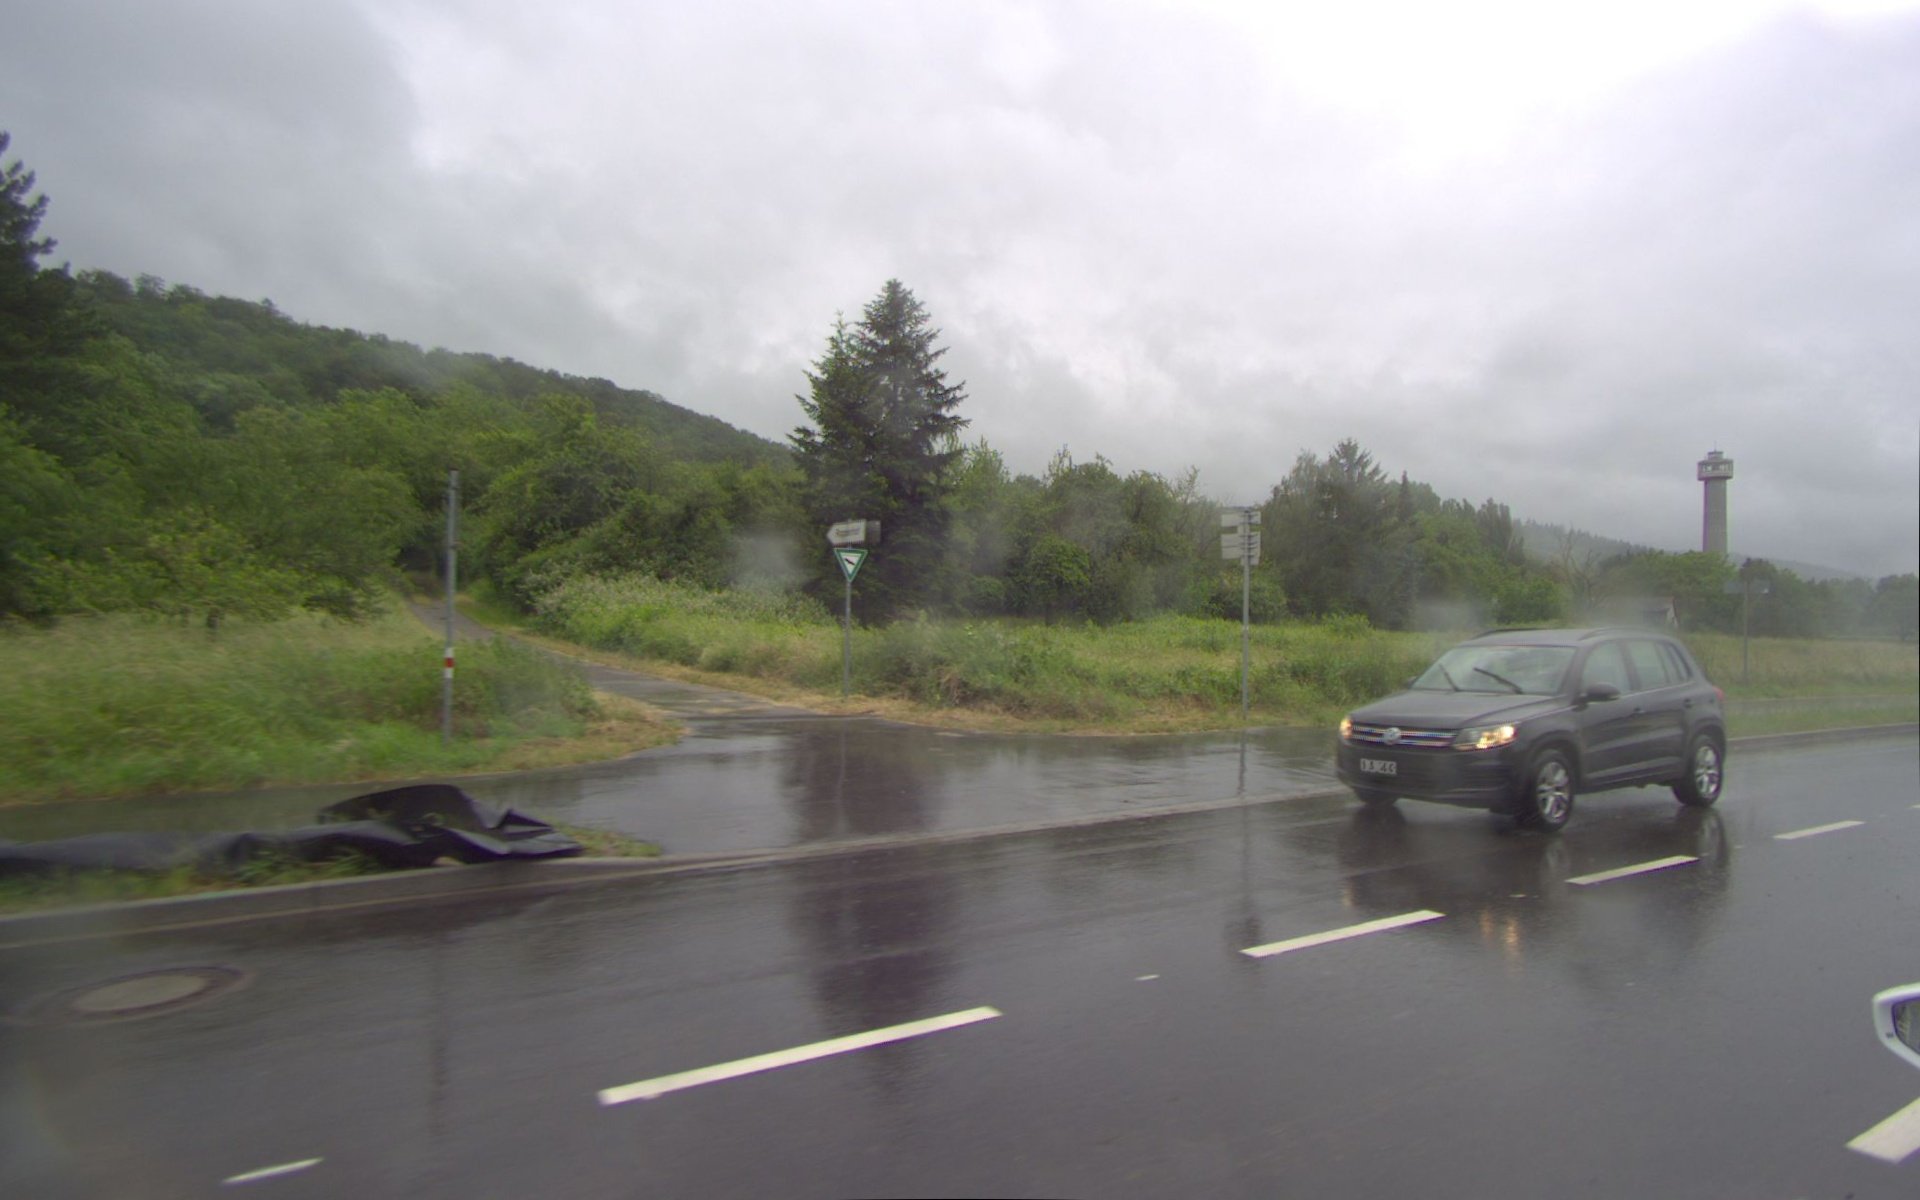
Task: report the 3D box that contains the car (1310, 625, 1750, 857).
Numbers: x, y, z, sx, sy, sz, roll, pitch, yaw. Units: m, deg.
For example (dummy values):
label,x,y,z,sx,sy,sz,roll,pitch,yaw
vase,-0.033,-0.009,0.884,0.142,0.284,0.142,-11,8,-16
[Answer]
label,x,y,z,sx,sy,sz,roll,pitch,yaw
car,5.420,1.137,9.427,4.218,1.740,1.733,1,-3,-31
